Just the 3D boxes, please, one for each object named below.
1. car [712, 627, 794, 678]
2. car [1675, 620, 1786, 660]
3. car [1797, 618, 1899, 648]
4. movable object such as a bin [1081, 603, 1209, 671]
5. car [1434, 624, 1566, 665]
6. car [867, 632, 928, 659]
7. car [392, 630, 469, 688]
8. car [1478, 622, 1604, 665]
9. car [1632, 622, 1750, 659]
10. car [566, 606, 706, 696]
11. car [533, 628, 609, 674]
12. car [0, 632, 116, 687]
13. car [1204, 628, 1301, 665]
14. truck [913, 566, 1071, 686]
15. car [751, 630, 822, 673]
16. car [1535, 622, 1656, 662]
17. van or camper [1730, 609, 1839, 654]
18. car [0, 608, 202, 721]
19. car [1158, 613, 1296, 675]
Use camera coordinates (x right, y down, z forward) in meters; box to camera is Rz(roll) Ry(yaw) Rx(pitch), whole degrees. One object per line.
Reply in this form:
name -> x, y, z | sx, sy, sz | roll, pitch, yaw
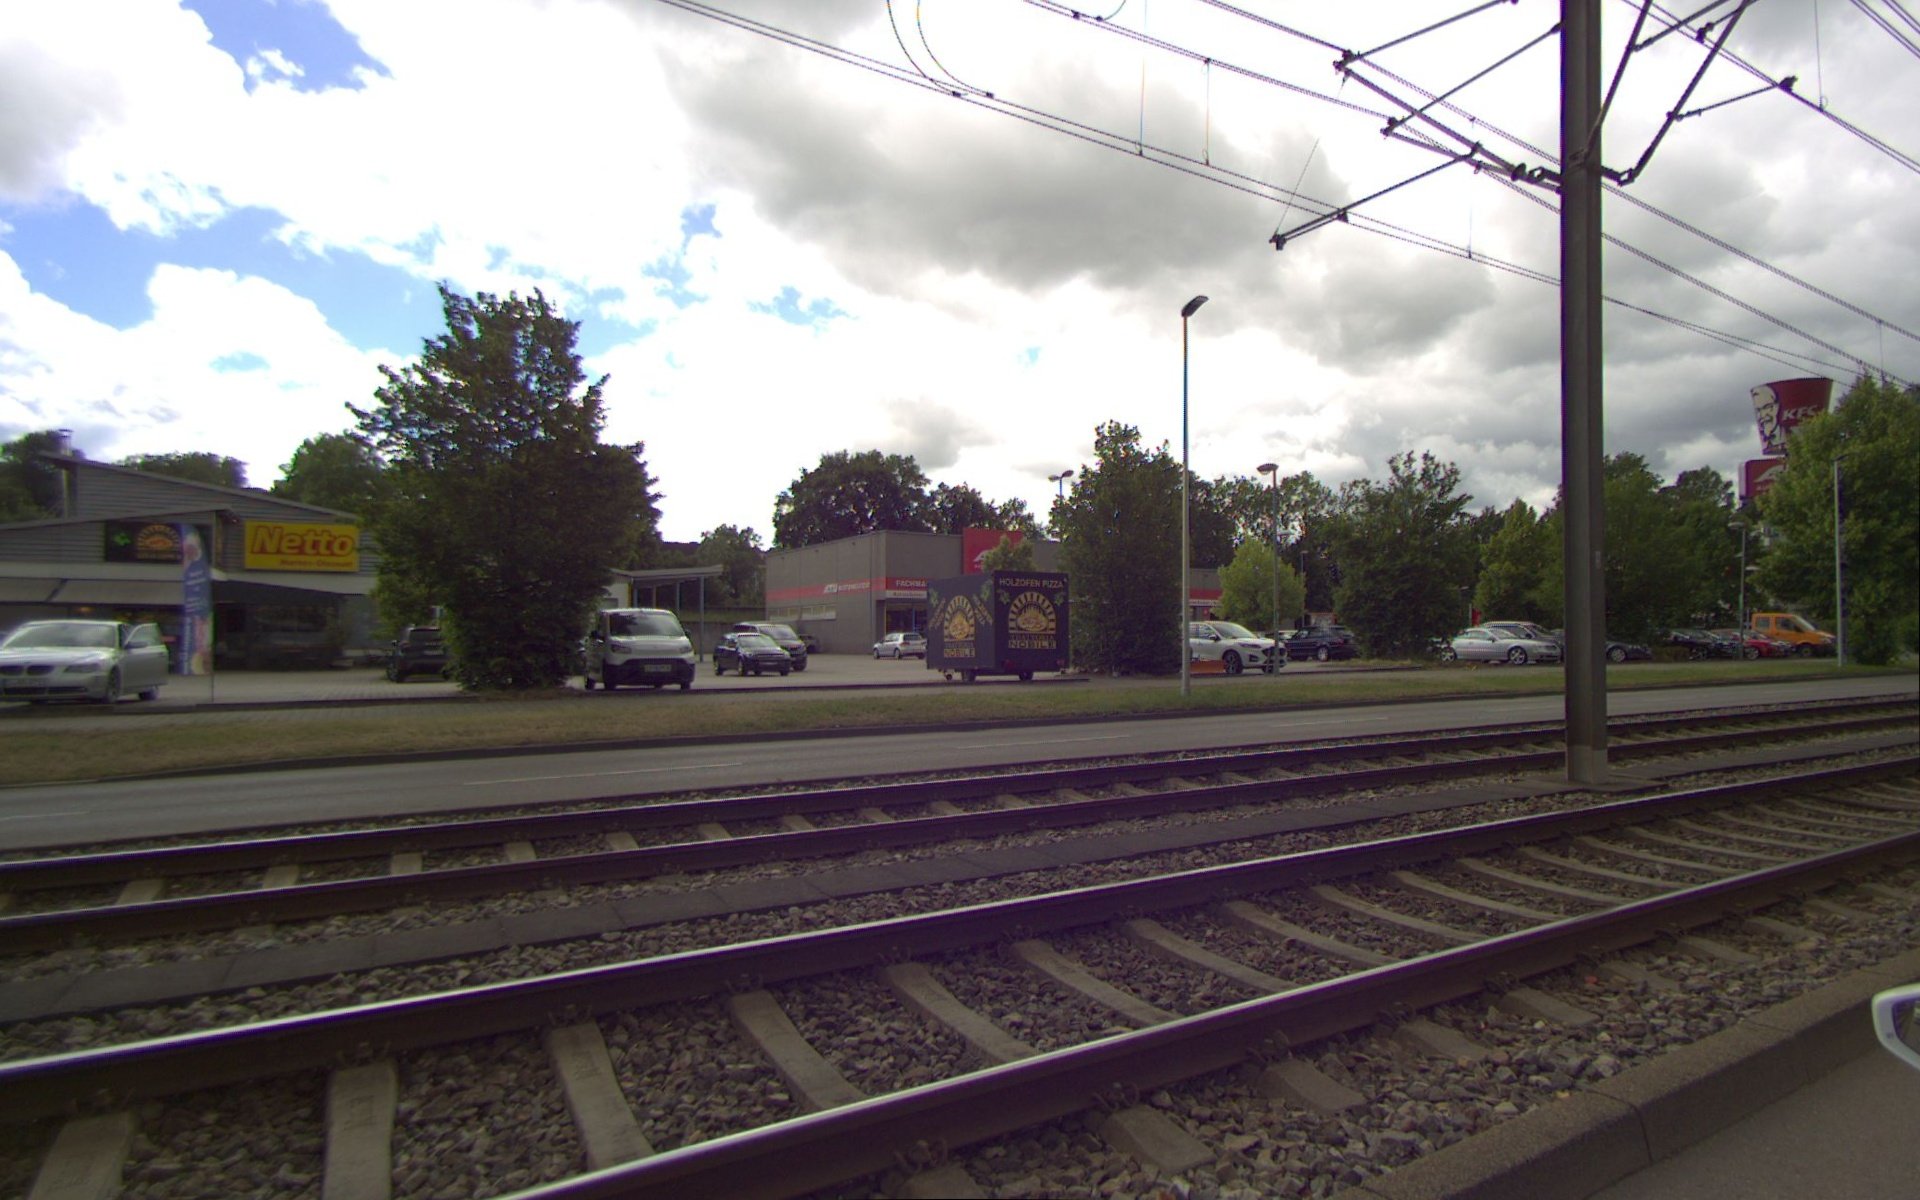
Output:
car -> -7.246, 1.802, 34.974 | 1.668, 1.661, 3.903 | 1, -2, -30
car -> 37.863, 1.936, 49.450 | 1.859, 1.821, 3.962 | 1, -1, -34
car -> 49.693, 1.869, 56.258 | 1.778, 1.620, 3.963 | 1, -2, -34
movable object such as a bin -> 5.679, 1.155, 31.279 | 1.661, 1.963, 3.964 | 1, -2, -33
car -> 20.897, 1.692, 39.039 | 1.661, 1.491, 4.284 | 1, -2, -31
car -> -3.594, 2.582, 57.237 | 1.752, 1.491, 3.716 | 1, -3, -36
car -> -15.780, 1.714, 30.079 | 1.669, 1.617, 3.979 | 0, -2, -23
car -> 23.240, 1.723, 40.325 | 1.859, 1.656, 3.963 | 1, -2, -34
car -> 33.408, 1.851, 45.985 | 1.859, 1.620, 3.963 | 1, -2, -34
car -> -7.100, 1.068, 21.746 | 1.973, 1.750, 4.199 | 1, -2, -31
car -> -14.375, 1.849, 37.345 | 1.835, 1.617, 3.994 | 0, -2, -10
car -> -25.076, 1.571, 26.628 | 3.961, 1.419, 1.599 | 1, -3, -36
car -> 13.878, 2.191, 47.886 | 1.917, 1.706, 4.265 | 1, -2, -30
truck -> 0.757, 0.703, 26.367 | 2.350, 2.859, 3.966 | 1, -2, -32
car -> -7.221, 2.099, 41.497 | 1.668, 1.661, 3.903 | 1, -2, -30
car -> 27.171, 1.786, 43.059 | 1.859, 1.620, 3.963 | 1, -2, -34
van or camper -> 42.397, 1.576, 51.718 | 1.859, 2.163, 3.962 | 1, 0, -34
car -> -14.899, 1.023, 16.994 | 2.619, 1.650, 4.762 | 0, -2, -29
car -> 8.328, 1.356, 31.586 | 1.859, 1.821, 3.963 | 1, -2, -34
